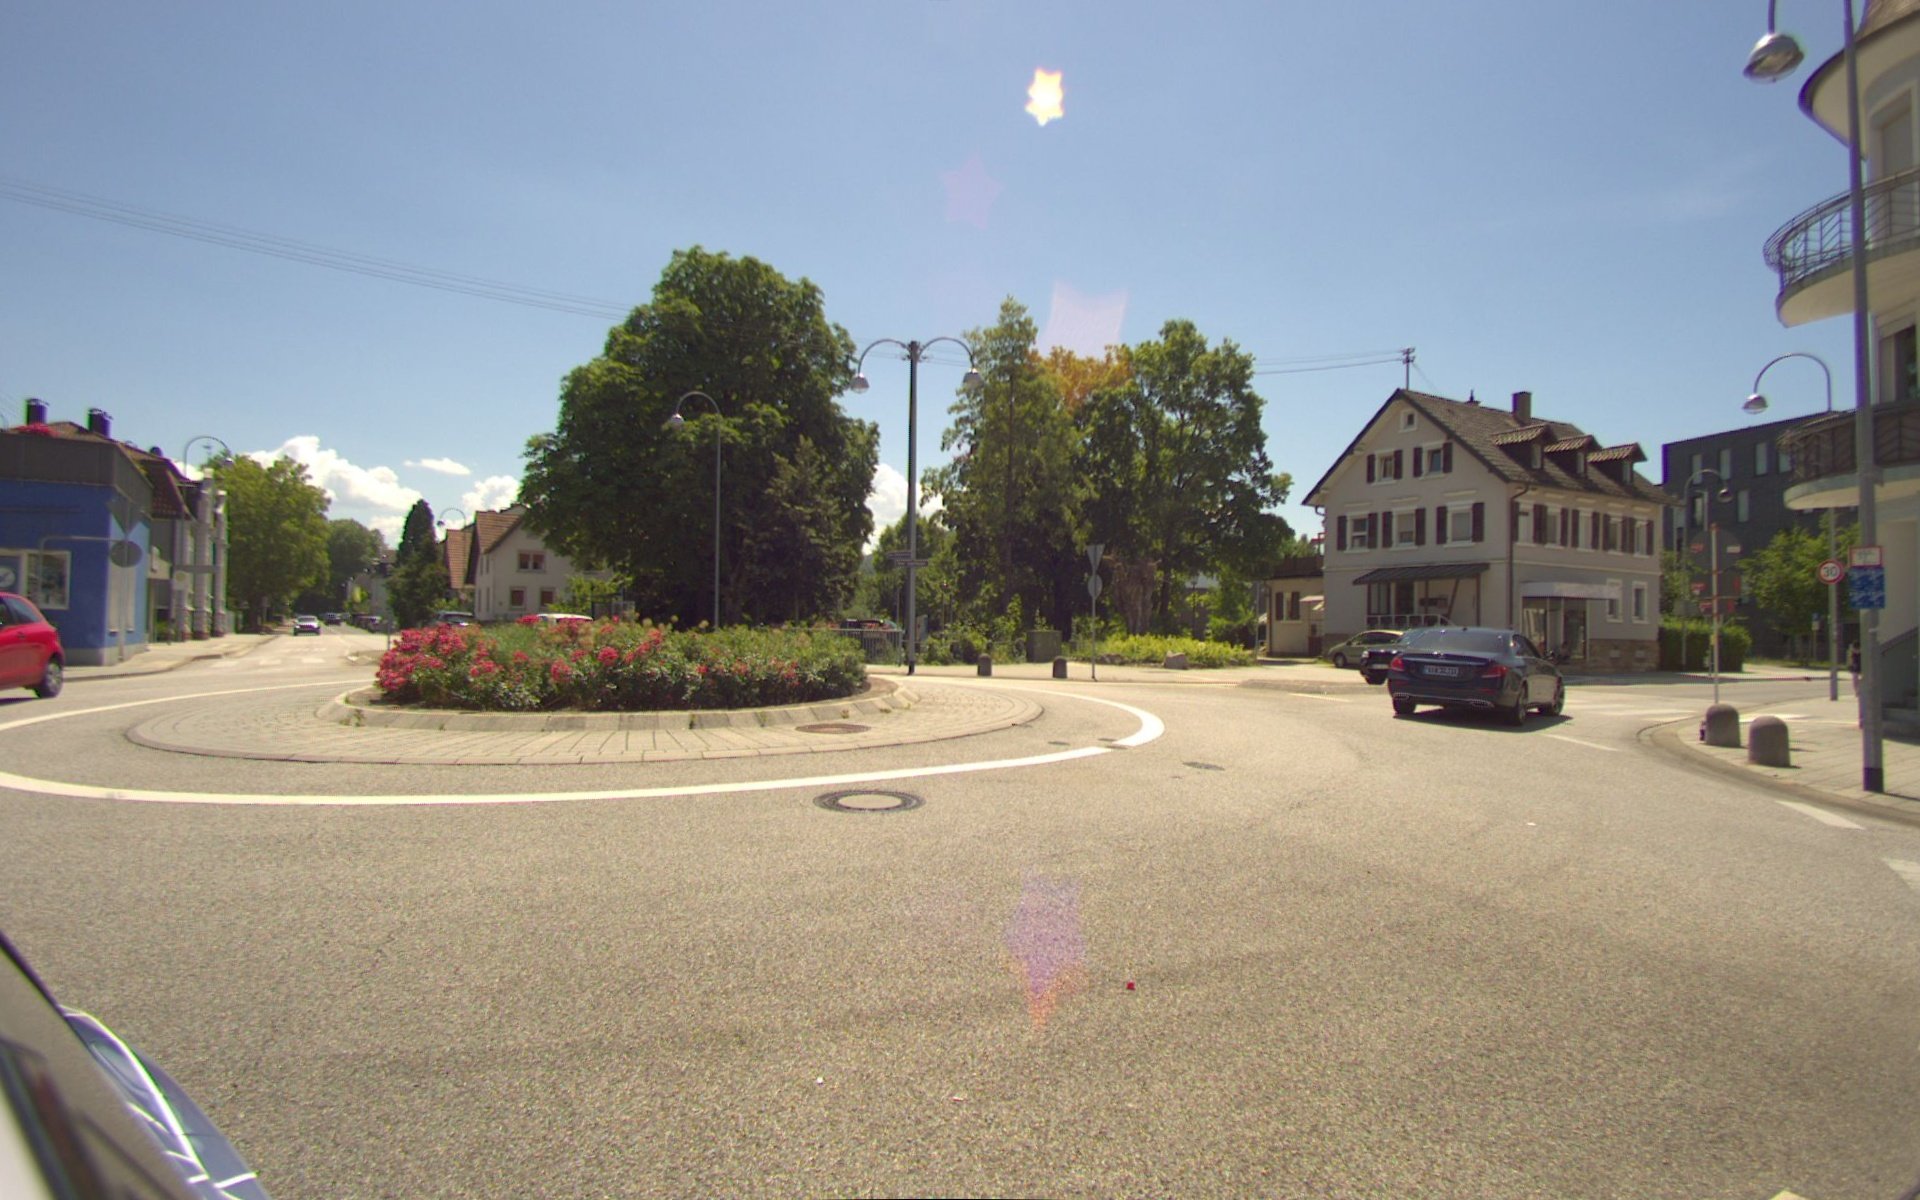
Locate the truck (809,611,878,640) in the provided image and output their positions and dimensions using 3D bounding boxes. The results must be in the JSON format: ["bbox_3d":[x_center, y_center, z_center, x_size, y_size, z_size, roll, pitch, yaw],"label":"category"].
[{"bbox_3d":[-10.644,2.340,92.778,6.129,2.462,2.265,1,-4,-1],"label":"truck"}]

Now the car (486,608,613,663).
[{"bbox_3d":[-12.326,1.029,30.296,4.289,1.392,1.905,2,0,44],"label":"car"}]

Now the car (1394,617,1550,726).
[{"bbox_3d":[8.435,1.125,16.684,1.991,1.489,4.664,1,-3,28],"label":"car"}]

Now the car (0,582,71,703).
[{"bbox_3d":[-13.111,0.552,12.560,1.803,1.545,4.013,0,0,-20],"label":"car"}]

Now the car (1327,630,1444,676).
[{"bbox_3d":[16.752,2.051,40.029,1.764,1.608,4.013,3,-2,-29],"label":"car"}]

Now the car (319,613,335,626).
[{"bbox_3d":[-93.259,2.907,149.080,1.711,1.719,4.009,1,-4,-36],"label":"car"}]

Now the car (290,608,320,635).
[{"bbox_3d":[-54.909,1.825,84.824,1.966,2.029,4.010,4,-5,-34],"label":"car"}]

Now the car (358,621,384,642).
[{"bbox_3d":[-64.621,3.485,110.995,1.967,2.029,4.008,4,-5,-37],"label":"car"}]

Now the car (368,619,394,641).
[{"bbox_3d":[-58.347,3.027,101.969,1.966,2.029,4.010,4,-5,-34],"label":"car"}]

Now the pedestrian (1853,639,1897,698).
[{"bbox_3d":[24.547,1.830,27.150,0.790,1.536,0.630,2,-5,-34],"label":"pedestrian"}]

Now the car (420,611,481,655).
[{"bbox_3d":[-20.846,1.317,41.329,1.966,1.574,4.179,4,-1,-29],"label":"car"}]

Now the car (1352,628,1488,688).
[{"bbox_3d":[12.916,1.607,28.414,3.532,1.558,1.760,2,-2,-30],"label":"car"}]

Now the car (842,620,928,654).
[{"bbox_3d":[-3.788,1.842,51.255,3.979,1.613,1.826,0,-2,26],"label":"car"}]

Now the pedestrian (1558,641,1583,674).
[{"bbox_3d":[24.521,2.288,40.626,0.571,1.295,0.687,2,-2,-34],"label":"pedestrian"}]
